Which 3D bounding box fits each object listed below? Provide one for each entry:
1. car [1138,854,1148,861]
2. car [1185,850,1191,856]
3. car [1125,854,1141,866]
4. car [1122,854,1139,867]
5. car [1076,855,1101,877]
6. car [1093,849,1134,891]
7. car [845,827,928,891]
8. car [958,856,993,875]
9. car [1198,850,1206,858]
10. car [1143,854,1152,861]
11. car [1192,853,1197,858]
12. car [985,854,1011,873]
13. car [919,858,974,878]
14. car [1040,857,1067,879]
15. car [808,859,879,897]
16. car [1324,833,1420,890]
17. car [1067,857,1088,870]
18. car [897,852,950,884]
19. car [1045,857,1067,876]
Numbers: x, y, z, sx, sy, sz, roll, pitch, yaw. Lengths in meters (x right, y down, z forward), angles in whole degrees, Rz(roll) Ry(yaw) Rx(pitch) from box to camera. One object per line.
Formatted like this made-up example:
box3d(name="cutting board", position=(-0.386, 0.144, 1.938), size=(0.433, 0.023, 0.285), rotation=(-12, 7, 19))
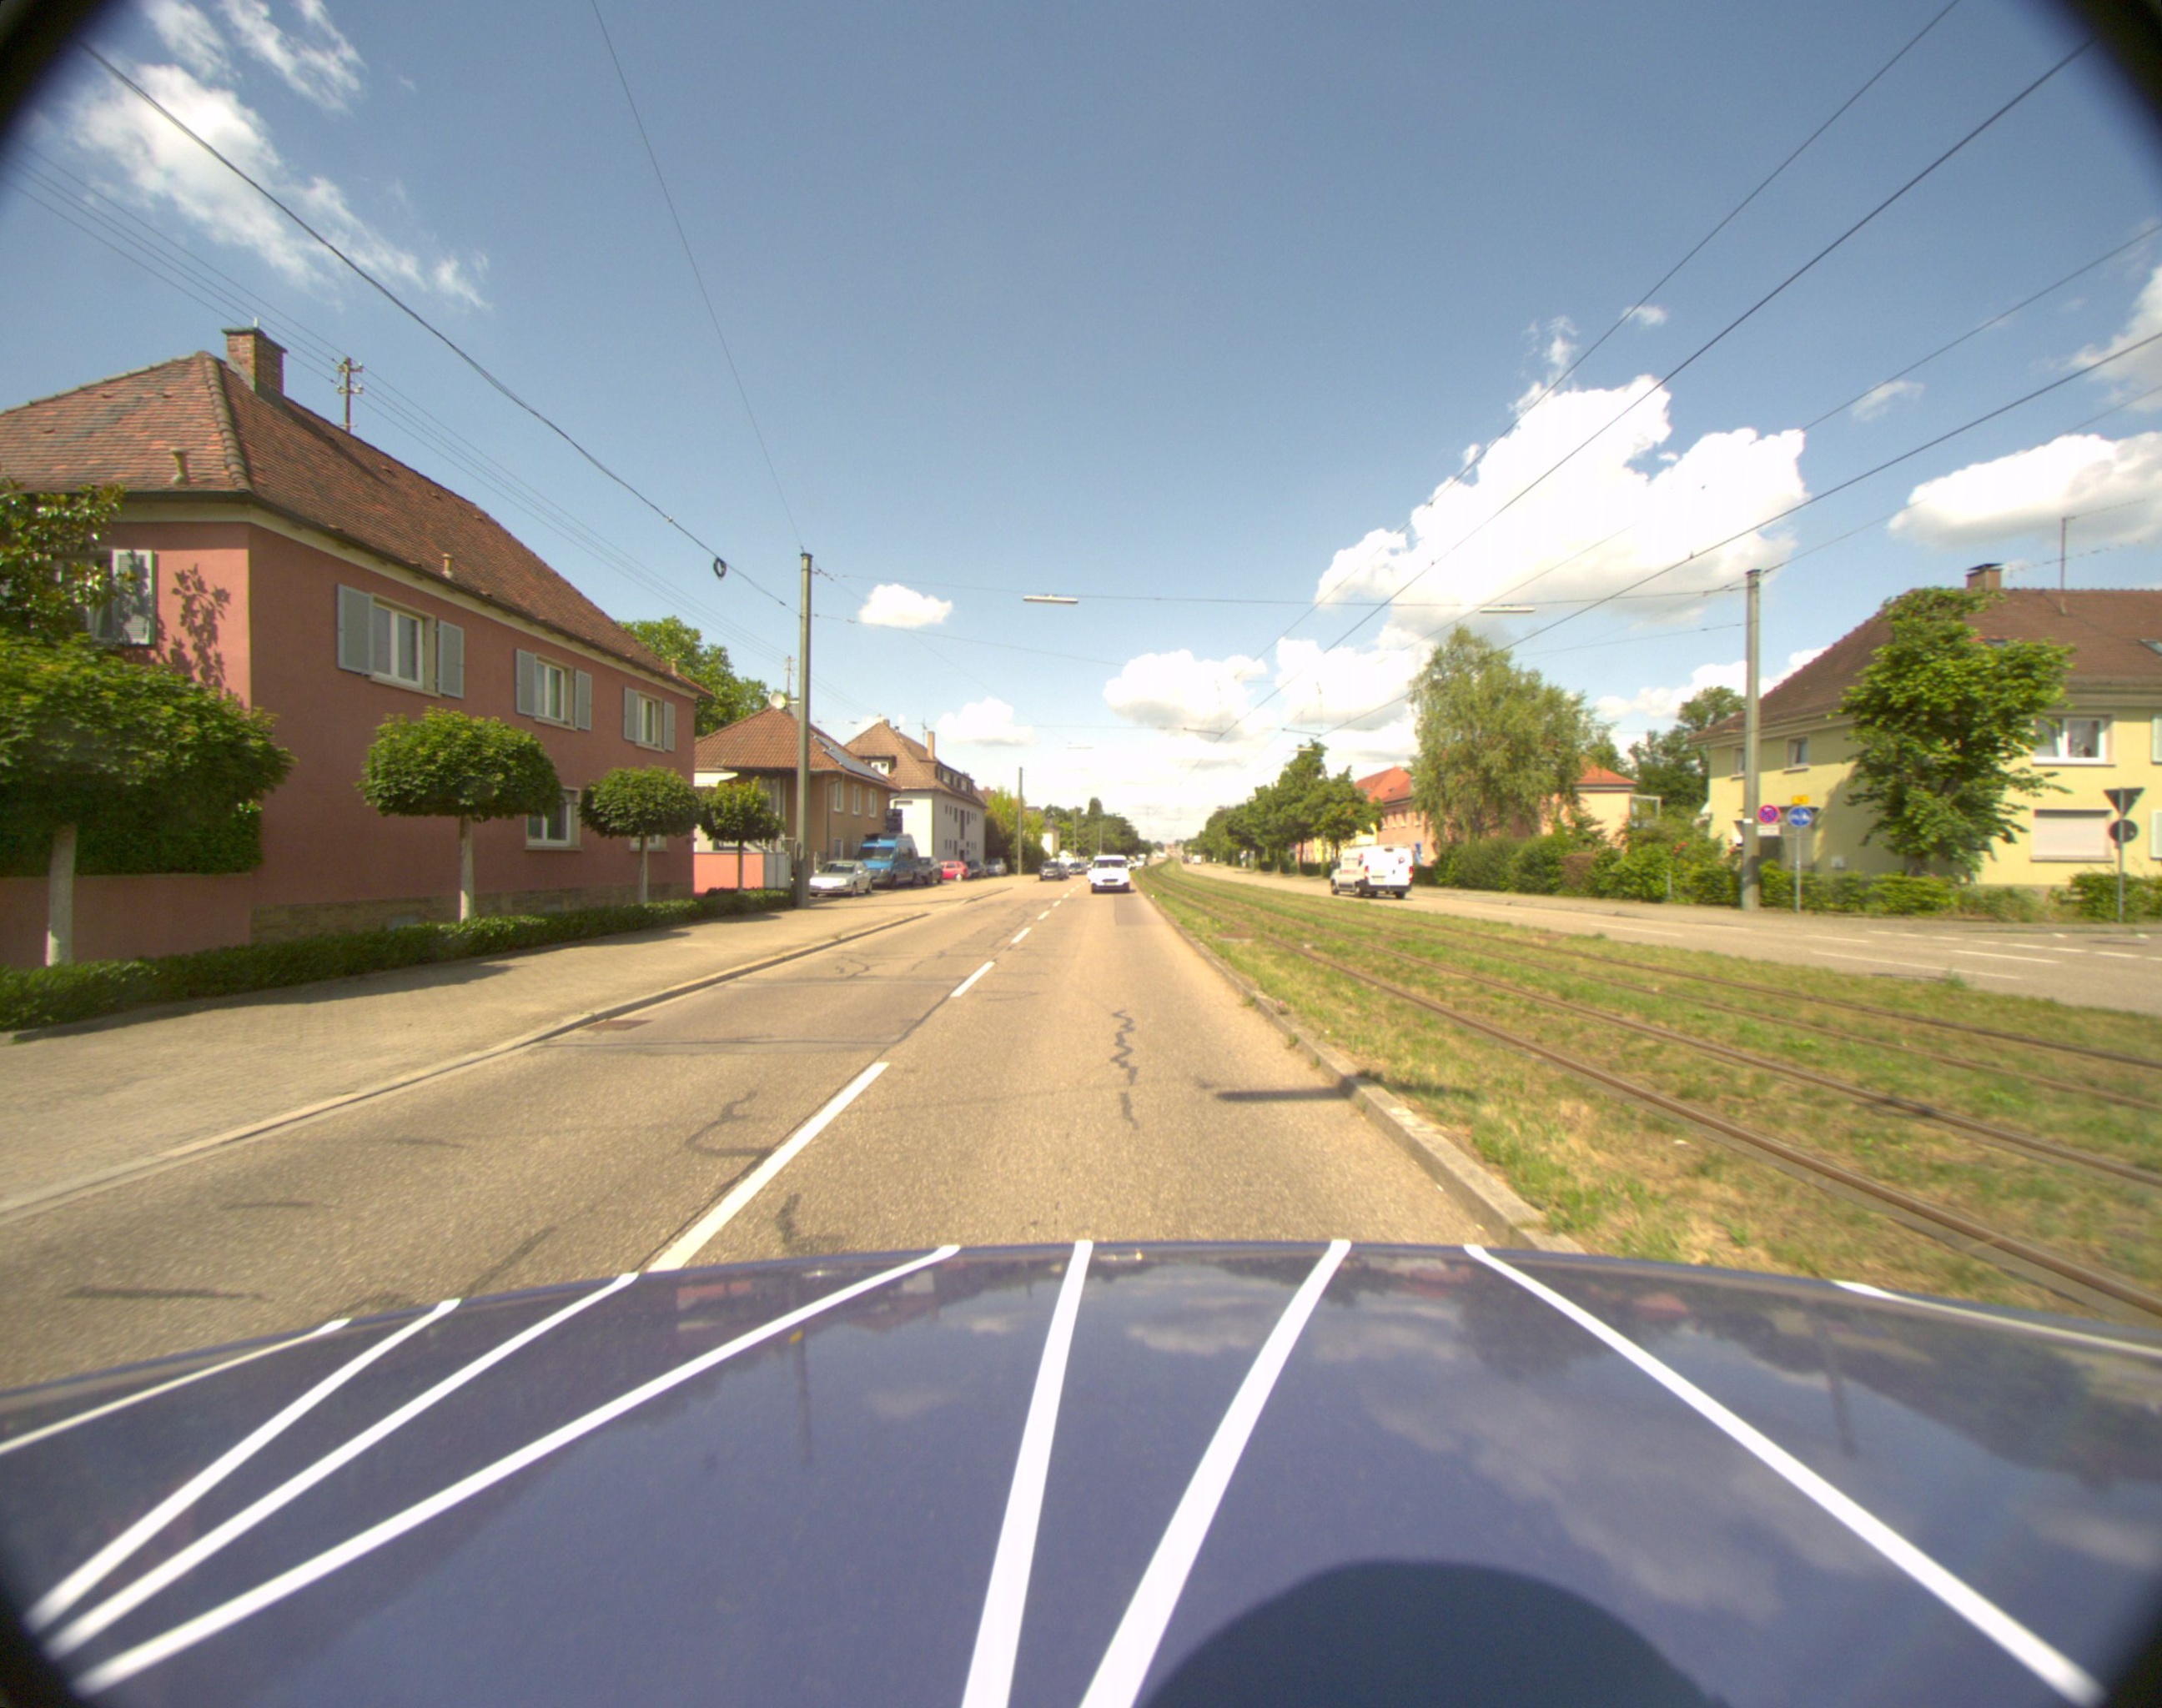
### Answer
box3d(name="car", position=(12.915, 0.688, 158.129), size=(1.998, 1.477, 4.001), rotation=(-2, 1, 5))
box3d(name="car", position=(34.884, -0.311, 247.092), size=(1.689, 1.736, 4.230), rotation=(0, 0, 7))
box3d(name="car", position=(7.396, 0.782, 107.315), size=(1.997, 1.576, 4.002), rotation=(-2, 1, 7))
box3d(name="car", position=(6.295, 0.802, 96.040), size=(1.998, 1.477, 4.001), rotation=(-2, 1, 5))
box3d(name="car", position=(0.601, 0.842, 57.424), size=(1.777, 1.540, 4.000), rotation=(-2, 0, 1))
box3d(name="car", position=(1.518, 0.707, 36.304), size=(1.777, 1.850, 4.375), rotation=(-1, 0, 1))
box3d(name="car", position=(-9.600, 0.208, 38.076), size=(2.156, 2.913, 6.245), rotation=(-2, 1, 3))
box3d(name="car", position=(-8.307, 0.909, 60.338), size=(1.803, 1.415, 4.858), rotation=(1, 0, 3))
box3d(name="car", position=(36.096, 0.043, 225.979), size=(2.036, 2.422, 5.781), rotation=(2, 0, 7))
box3d(name="car", position=(15.492, 0.874, 176.941), size=(1.998, 1.477, 4.001), rotation=(-2, 1, 5))
box3d(name="car", position=(38.927, 0.489, 261.311), size=(1.689, 1.422, 4.279), rotation=(0, 0, 7))
box3d(name="car", position=(-7.619, 0.826, 70.281), size=(1.761, 1.637, 4.769), rotation=(1, 1, 1))
box3d(name="car", position=(-9.634, 1.002, 54.617), size=(3.658, 1.372, 1.727), rotation=(-1, 1, 1))
box3d(name="car", position=(-2.120, 1.094, 60.255), size=(1.811, 1.550, 4.253), rotation=(-2, 1, 2))
box3d(name="car", position=(-9.642, 0.930, 31.180), size=(1.653, 1.401, 4.349), rotation=(0, 1, -1))
box3d(name="car", position=(13.043, 0.303, 34.488), size=(2.202, 2.358, 5.331), rotation=(1, 1, -1))
box3d(name="car", position=(-0.317, 1.072, 85.782), size=(1.904, 1.435, 5.059), rotation=(-2, 0, 5))
box3d(name="car", position=(-9.092, 0.767, 44.316), size=(1.841, 1.701, 4.865), rotation=(2, 0, 2))
box3d(name="car", position=(-2.174, 1.082, 67.025), size=(1.819, 1.445, 4.642), rotation=(-2, 1, 0))
